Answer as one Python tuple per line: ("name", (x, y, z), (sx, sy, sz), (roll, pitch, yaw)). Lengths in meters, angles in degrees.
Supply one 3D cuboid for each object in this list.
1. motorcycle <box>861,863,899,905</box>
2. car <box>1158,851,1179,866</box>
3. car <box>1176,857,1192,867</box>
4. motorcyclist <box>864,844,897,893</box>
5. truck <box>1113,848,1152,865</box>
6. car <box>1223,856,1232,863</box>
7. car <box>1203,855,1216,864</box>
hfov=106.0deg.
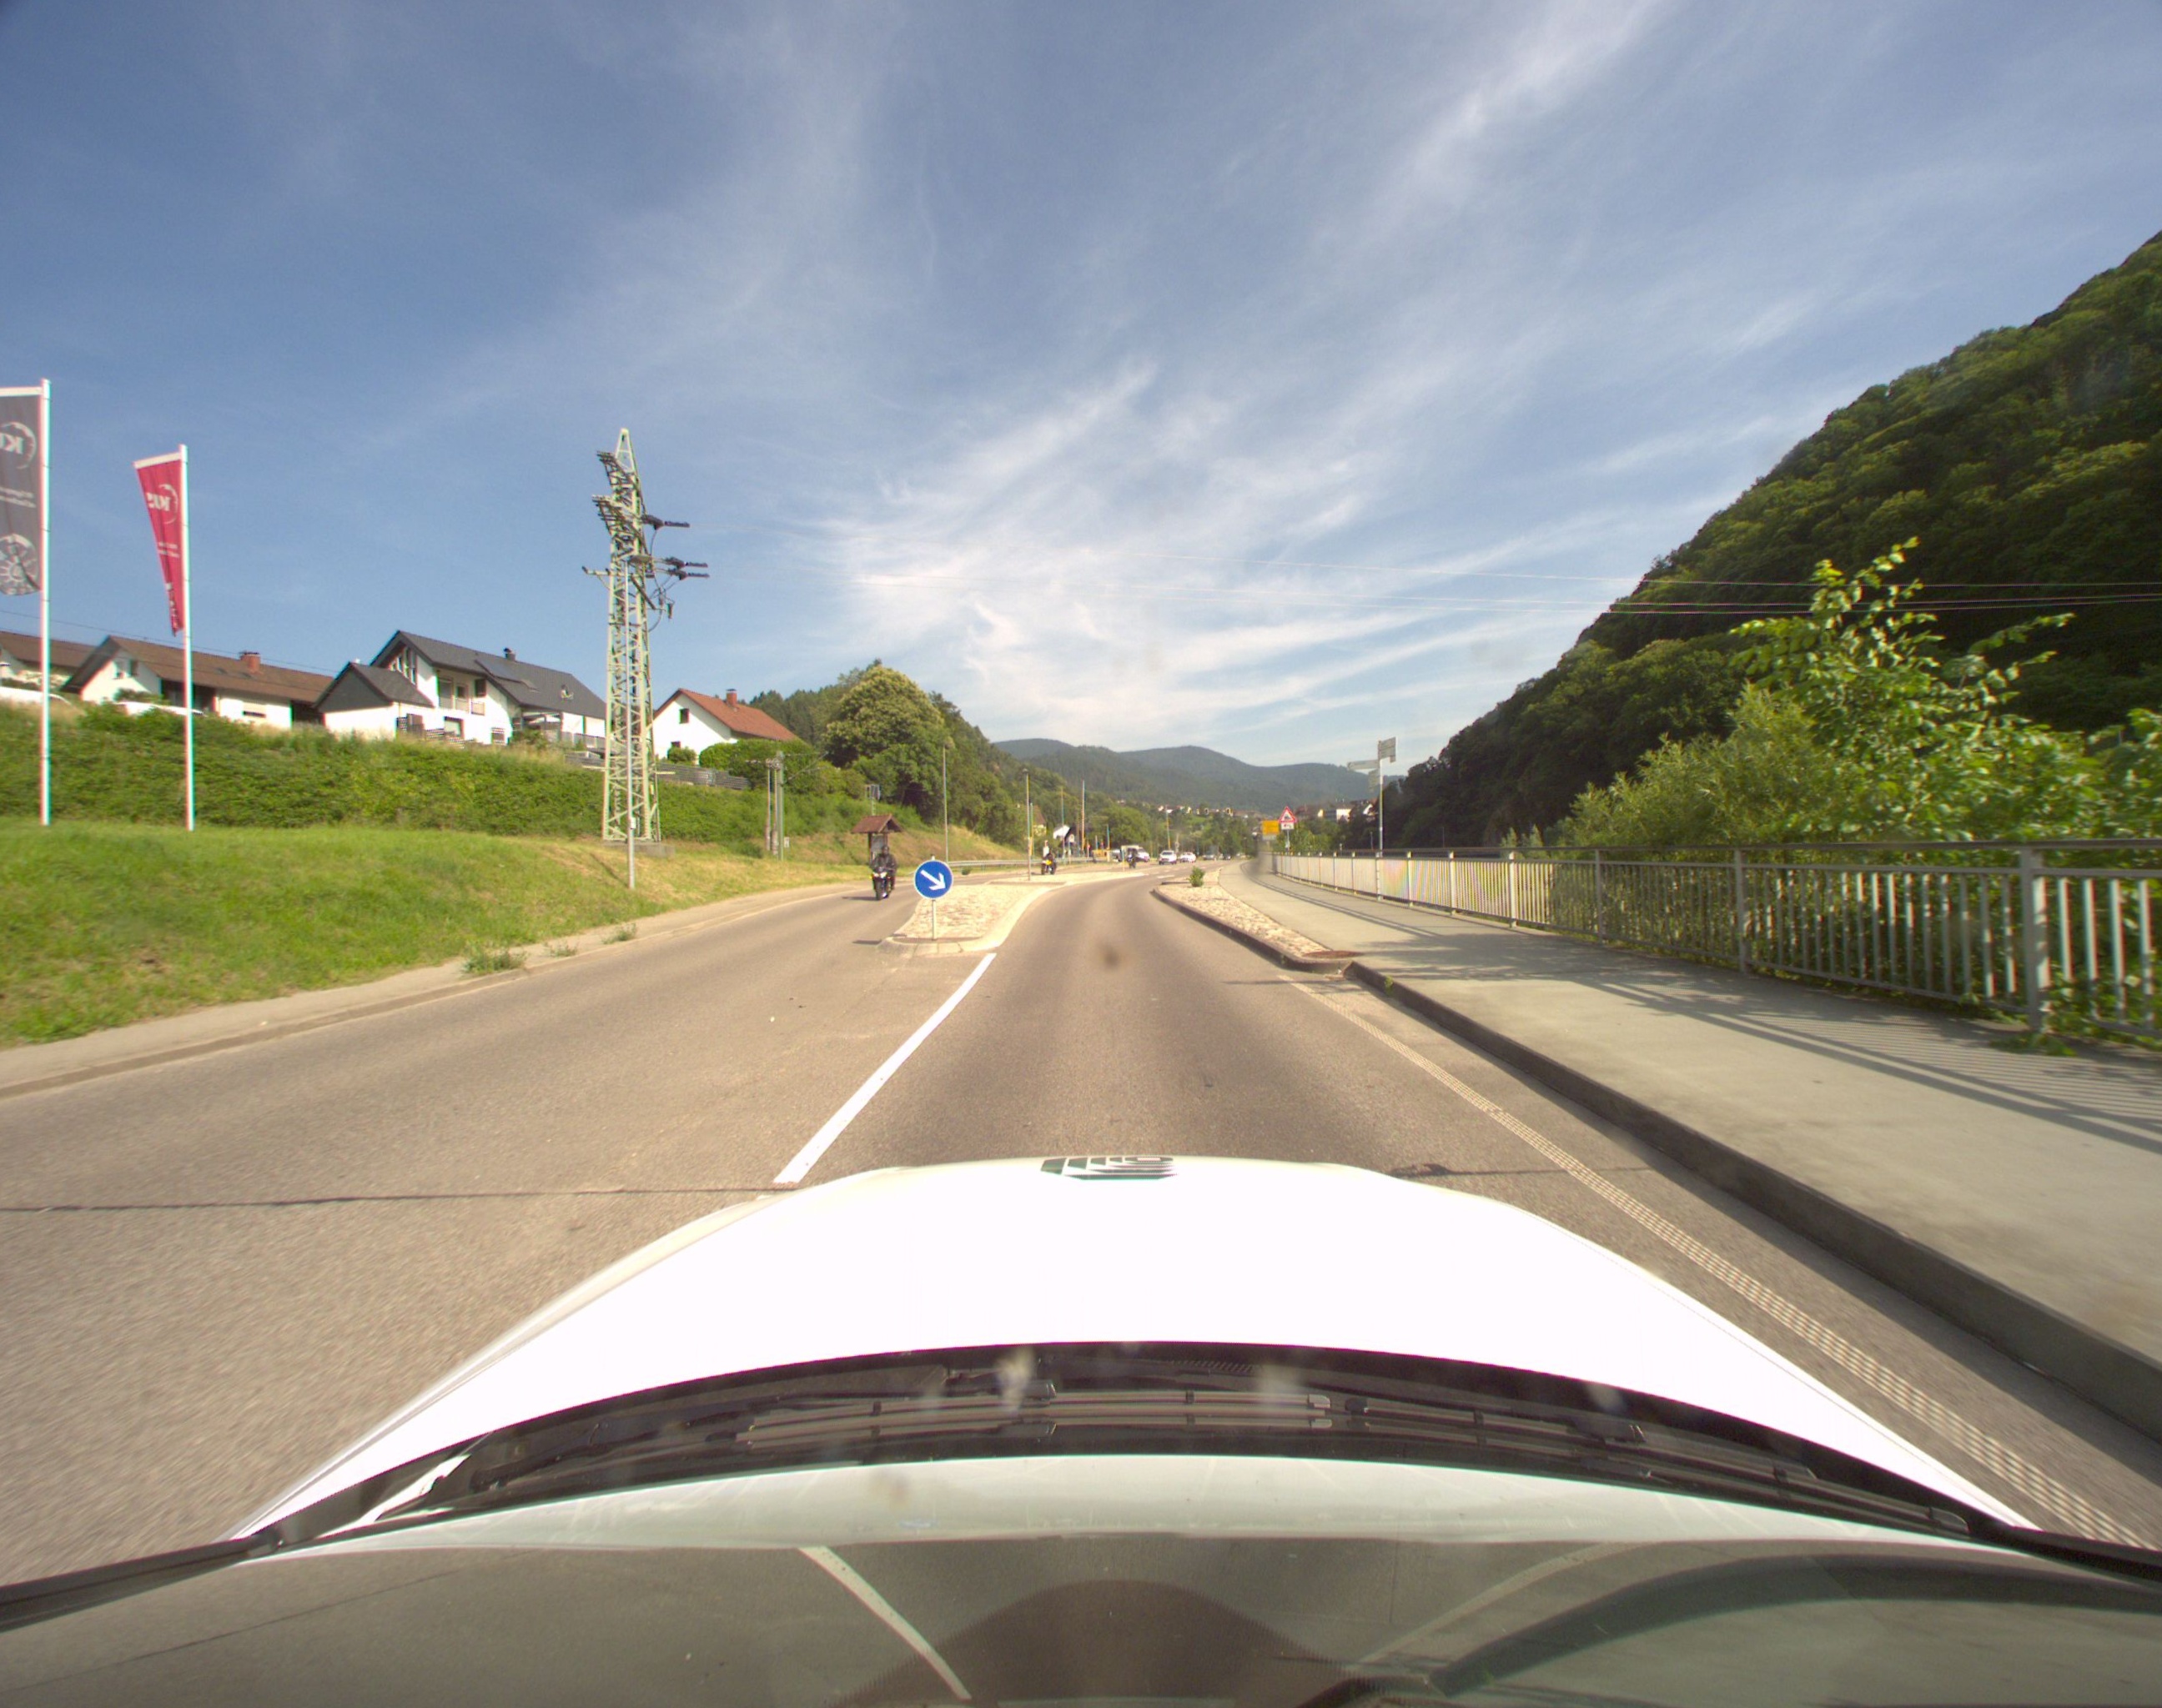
("motorcycle", (-6.280, 0.906, 25.549), (0.894, 1.183, 2.299), (-1, 1, -8))
("car", (10.432, 0.531, 96.649), (1.750, 1.560, 4.019), (-1, 1, 17))
("car", (14.358, 1.151, 113.382), (1.770, 1.400, 4.842), (0, 0, 12))
("motorcyclist", (-6.323, 0.444, 25.752), (0.905, 1.519, 0.845), (-2, 0, -9))
("truck", (7.413, 0.346, 117.603), (2.011, 2.266, 5.930), (-1, 1, -43))
("car", (32.237, 1.155, 178.951), (1.760, 1.416, 3.799), (-3, -1, 13))
("car", (22.783, 0.937, 144.333), (1.746, 1.521, 4.219), (-1, -2, 14))
